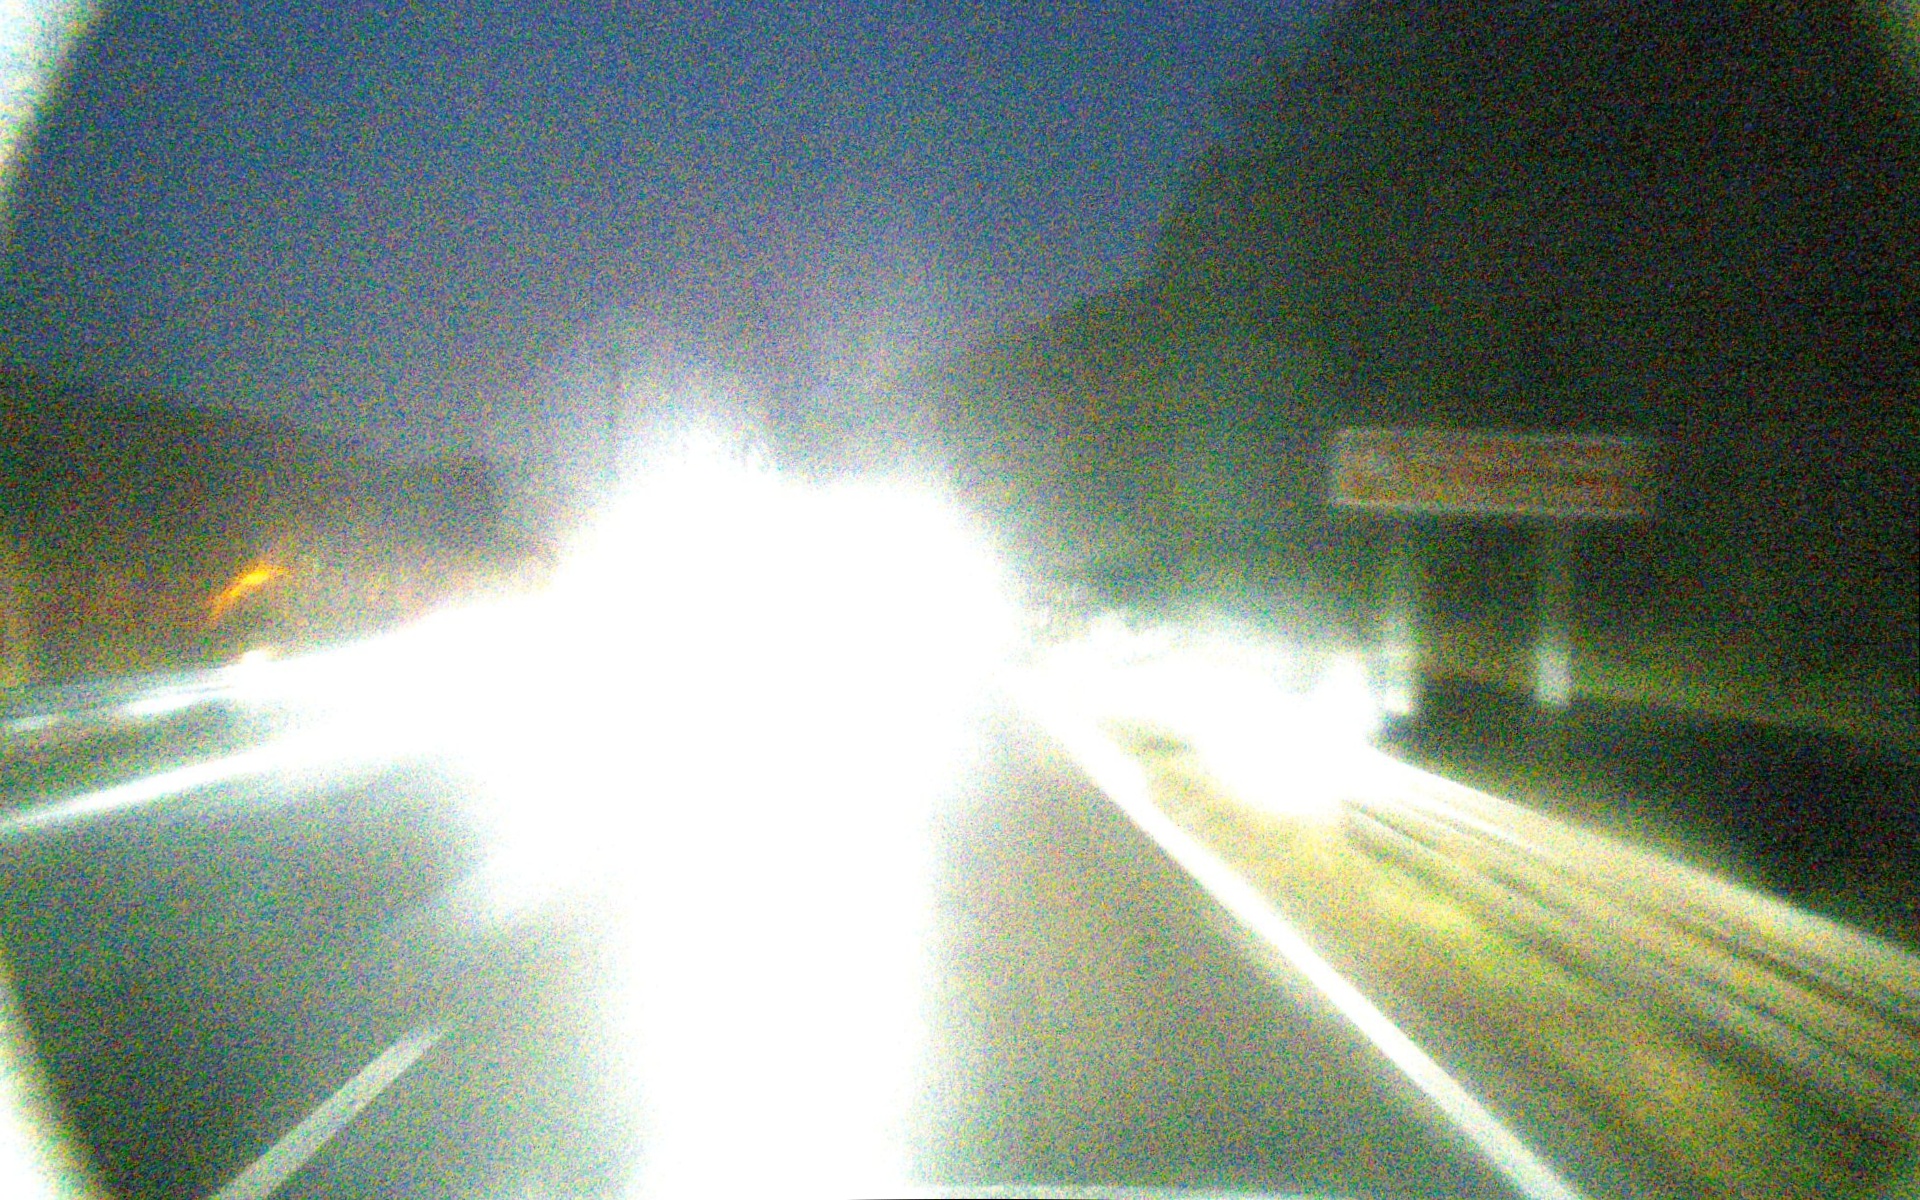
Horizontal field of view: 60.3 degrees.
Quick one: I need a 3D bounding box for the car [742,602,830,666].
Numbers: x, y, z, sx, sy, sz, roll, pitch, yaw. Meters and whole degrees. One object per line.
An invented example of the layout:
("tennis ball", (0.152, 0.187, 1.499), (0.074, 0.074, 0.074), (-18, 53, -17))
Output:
("car", (-4.308, 0.805, 41.567), (1.831, 1.473, 4.392), (1, 0, -1))
